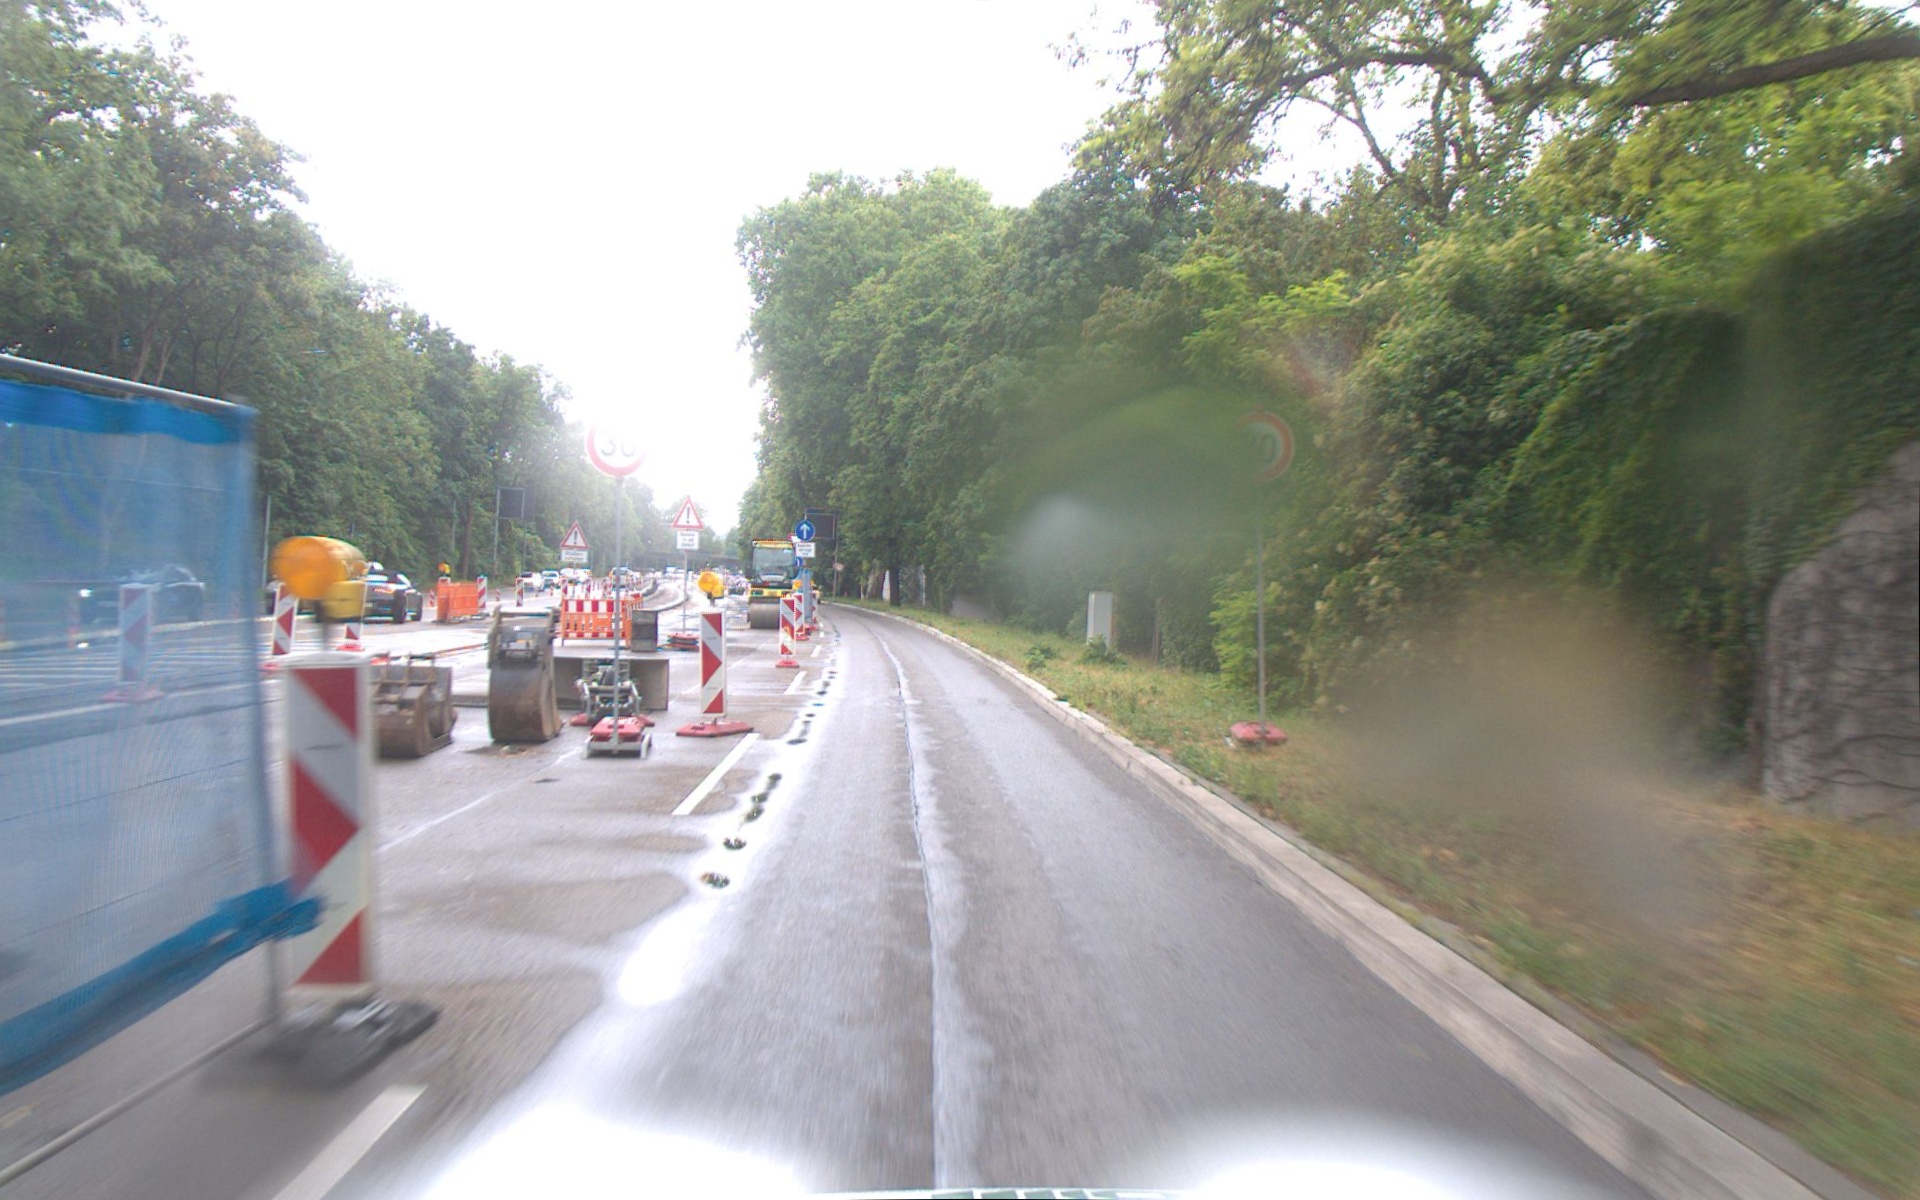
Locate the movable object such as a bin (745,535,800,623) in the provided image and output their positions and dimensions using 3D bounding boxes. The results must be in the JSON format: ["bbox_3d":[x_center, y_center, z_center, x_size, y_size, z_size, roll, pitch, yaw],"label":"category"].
[{"bbox_3d":[-6.458,-0.731,57.269,1.712,2.917,3.531,1,0,-4],"label":"movable object such as a bin"}]

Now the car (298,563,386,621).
[{"bbox_3d":[-19.214,-0.264,51.572,1.399,1.725,4.127,1,1,-4],"label":"car"}]

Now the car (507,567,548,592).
[{"bbox_3d":[-31.191,-1.468,119.337,1.889,1.694,4.650,1,1,-3],"label":"car"}]

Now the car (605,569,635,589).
[{"bbox_3d":[-30.961,-1.902,150.758,1.889,1.809,4.650,1,1,-3],"label":"car"}]

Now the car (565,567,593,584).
[{"bbox_3d":[-39.049,-2.513,169.586,1.889,1.694,4.650,1,1,-3],"label":"car"}]

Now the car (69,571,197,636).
[{"bbox_3d":[-19.421,0.050,38.988,1.399,1.431,3.821,1,1,-5],"label":"car"}]

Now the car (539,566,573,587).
[{"bbox_3d":[-34.717,-2.002,142.164,1.889,1.694,4.650,1,1,-3],"label":"car"}]

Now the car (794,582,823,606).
[{"bbox_3d":[-11.598,-0.462,126.729,1.876,1.625,4.832,2,1,-3],"label":"car"}]

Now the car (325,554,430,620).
[{"bbox_3d":[-15.901,-0.397,45.339,1.827,1.517,3.995,3,3,-7],"label":"car"}]
